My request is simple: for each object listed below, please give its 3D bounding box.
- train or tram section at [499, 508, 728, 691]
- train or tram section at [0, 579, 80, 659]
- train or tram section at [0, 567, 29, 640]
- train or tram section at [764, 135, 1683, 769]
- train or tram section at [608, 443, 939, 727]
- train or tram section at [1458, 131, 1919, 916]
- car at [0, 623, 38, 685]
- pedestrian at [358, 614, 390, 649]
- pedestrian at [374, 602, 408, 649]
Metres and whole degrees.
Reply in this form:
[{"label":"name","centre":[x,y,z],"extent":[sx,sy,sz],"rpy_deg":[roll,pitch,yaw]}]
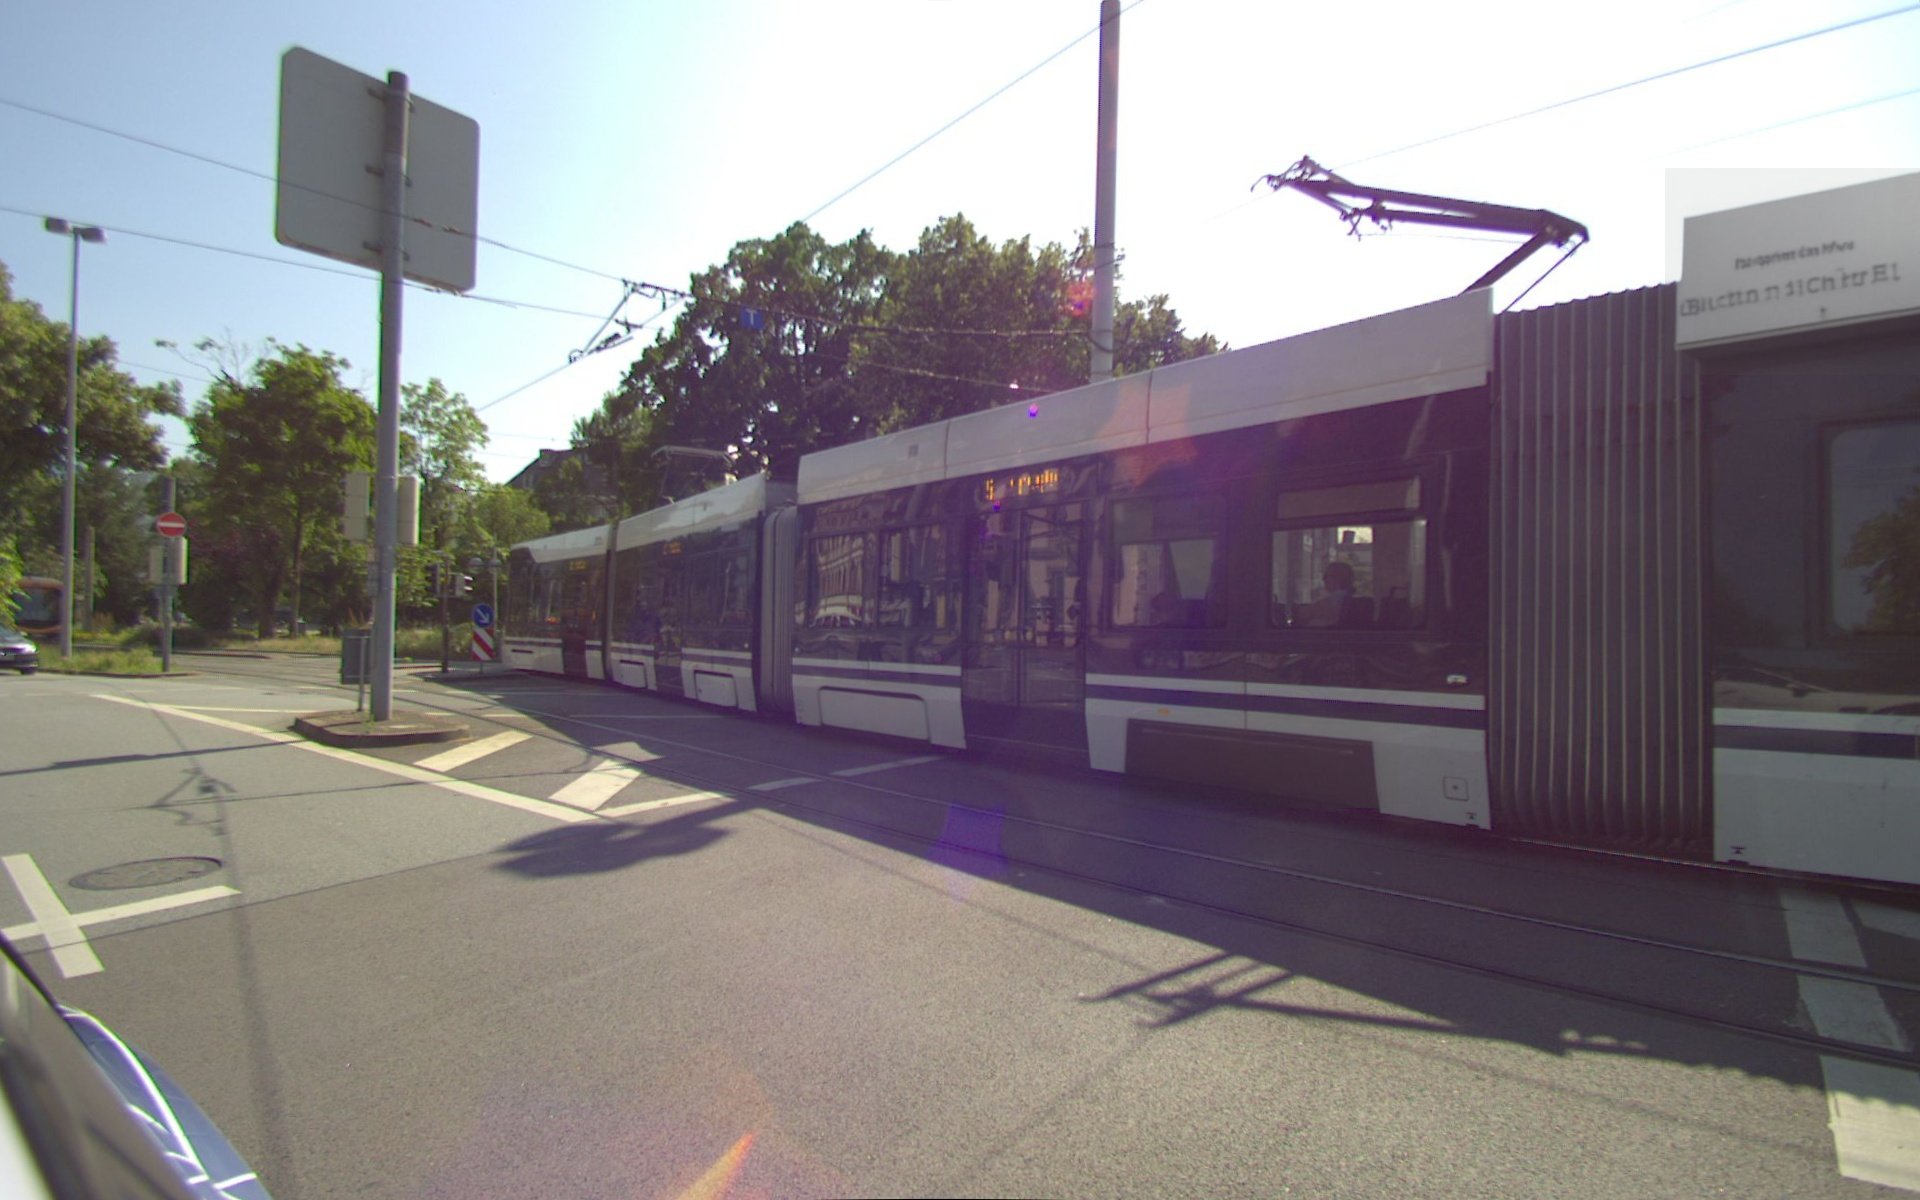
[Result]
[{"label":"train or tram section","centre":[-9.021,0.076,25.435],"extent":[2.504,3.806,9.187],"rpy_deg":[2,-2,-38]},{"label":"train or tram section","centre":[-42.979,0.871,45.910],"extent":[5.863,3.429,2.741],"rpy_deg":[0,-2,30]},{"label":"train or tram section","centre":[-50.736,0.152,50.610],"extent":[12.367,3.429,2.739],"rpy_deg":[0,-2,31]},{"label":"train or tram section","centre":[1.328,-0.751,10.416],"extent":[2.373,3.709,9.637],"rpy_deg":[2,-2,-38]},{"label":"train or tram section","centre":[-3.844,-0.073,18.086],"extent":[2.502,3.806,9.194],"rpy_deg":[2,-2,-32]},{"label":"train or tram section","centre":[8.449,-0.404,3.489],"extent":[11.831,3.806,2.446],"rpy_deg":[-1,-2,38]},{"label":"car","centre":[-25.180,1.294,25.385],"extent":[4.730,1.497,1.735],"rpy_deg":[0,-3,31]},{"label":"pedestrian","centre":[-27.875,1.504,48.143],"extent":[0.933,1.632,1.026],"rpy_deg":[-1,-3,37]},{"label":"pedestrian","centre":[-26.932,1.203,47.892],"extent":[0.801,2.167,1.113],"rpy_deg":[-1,1,37]}]
